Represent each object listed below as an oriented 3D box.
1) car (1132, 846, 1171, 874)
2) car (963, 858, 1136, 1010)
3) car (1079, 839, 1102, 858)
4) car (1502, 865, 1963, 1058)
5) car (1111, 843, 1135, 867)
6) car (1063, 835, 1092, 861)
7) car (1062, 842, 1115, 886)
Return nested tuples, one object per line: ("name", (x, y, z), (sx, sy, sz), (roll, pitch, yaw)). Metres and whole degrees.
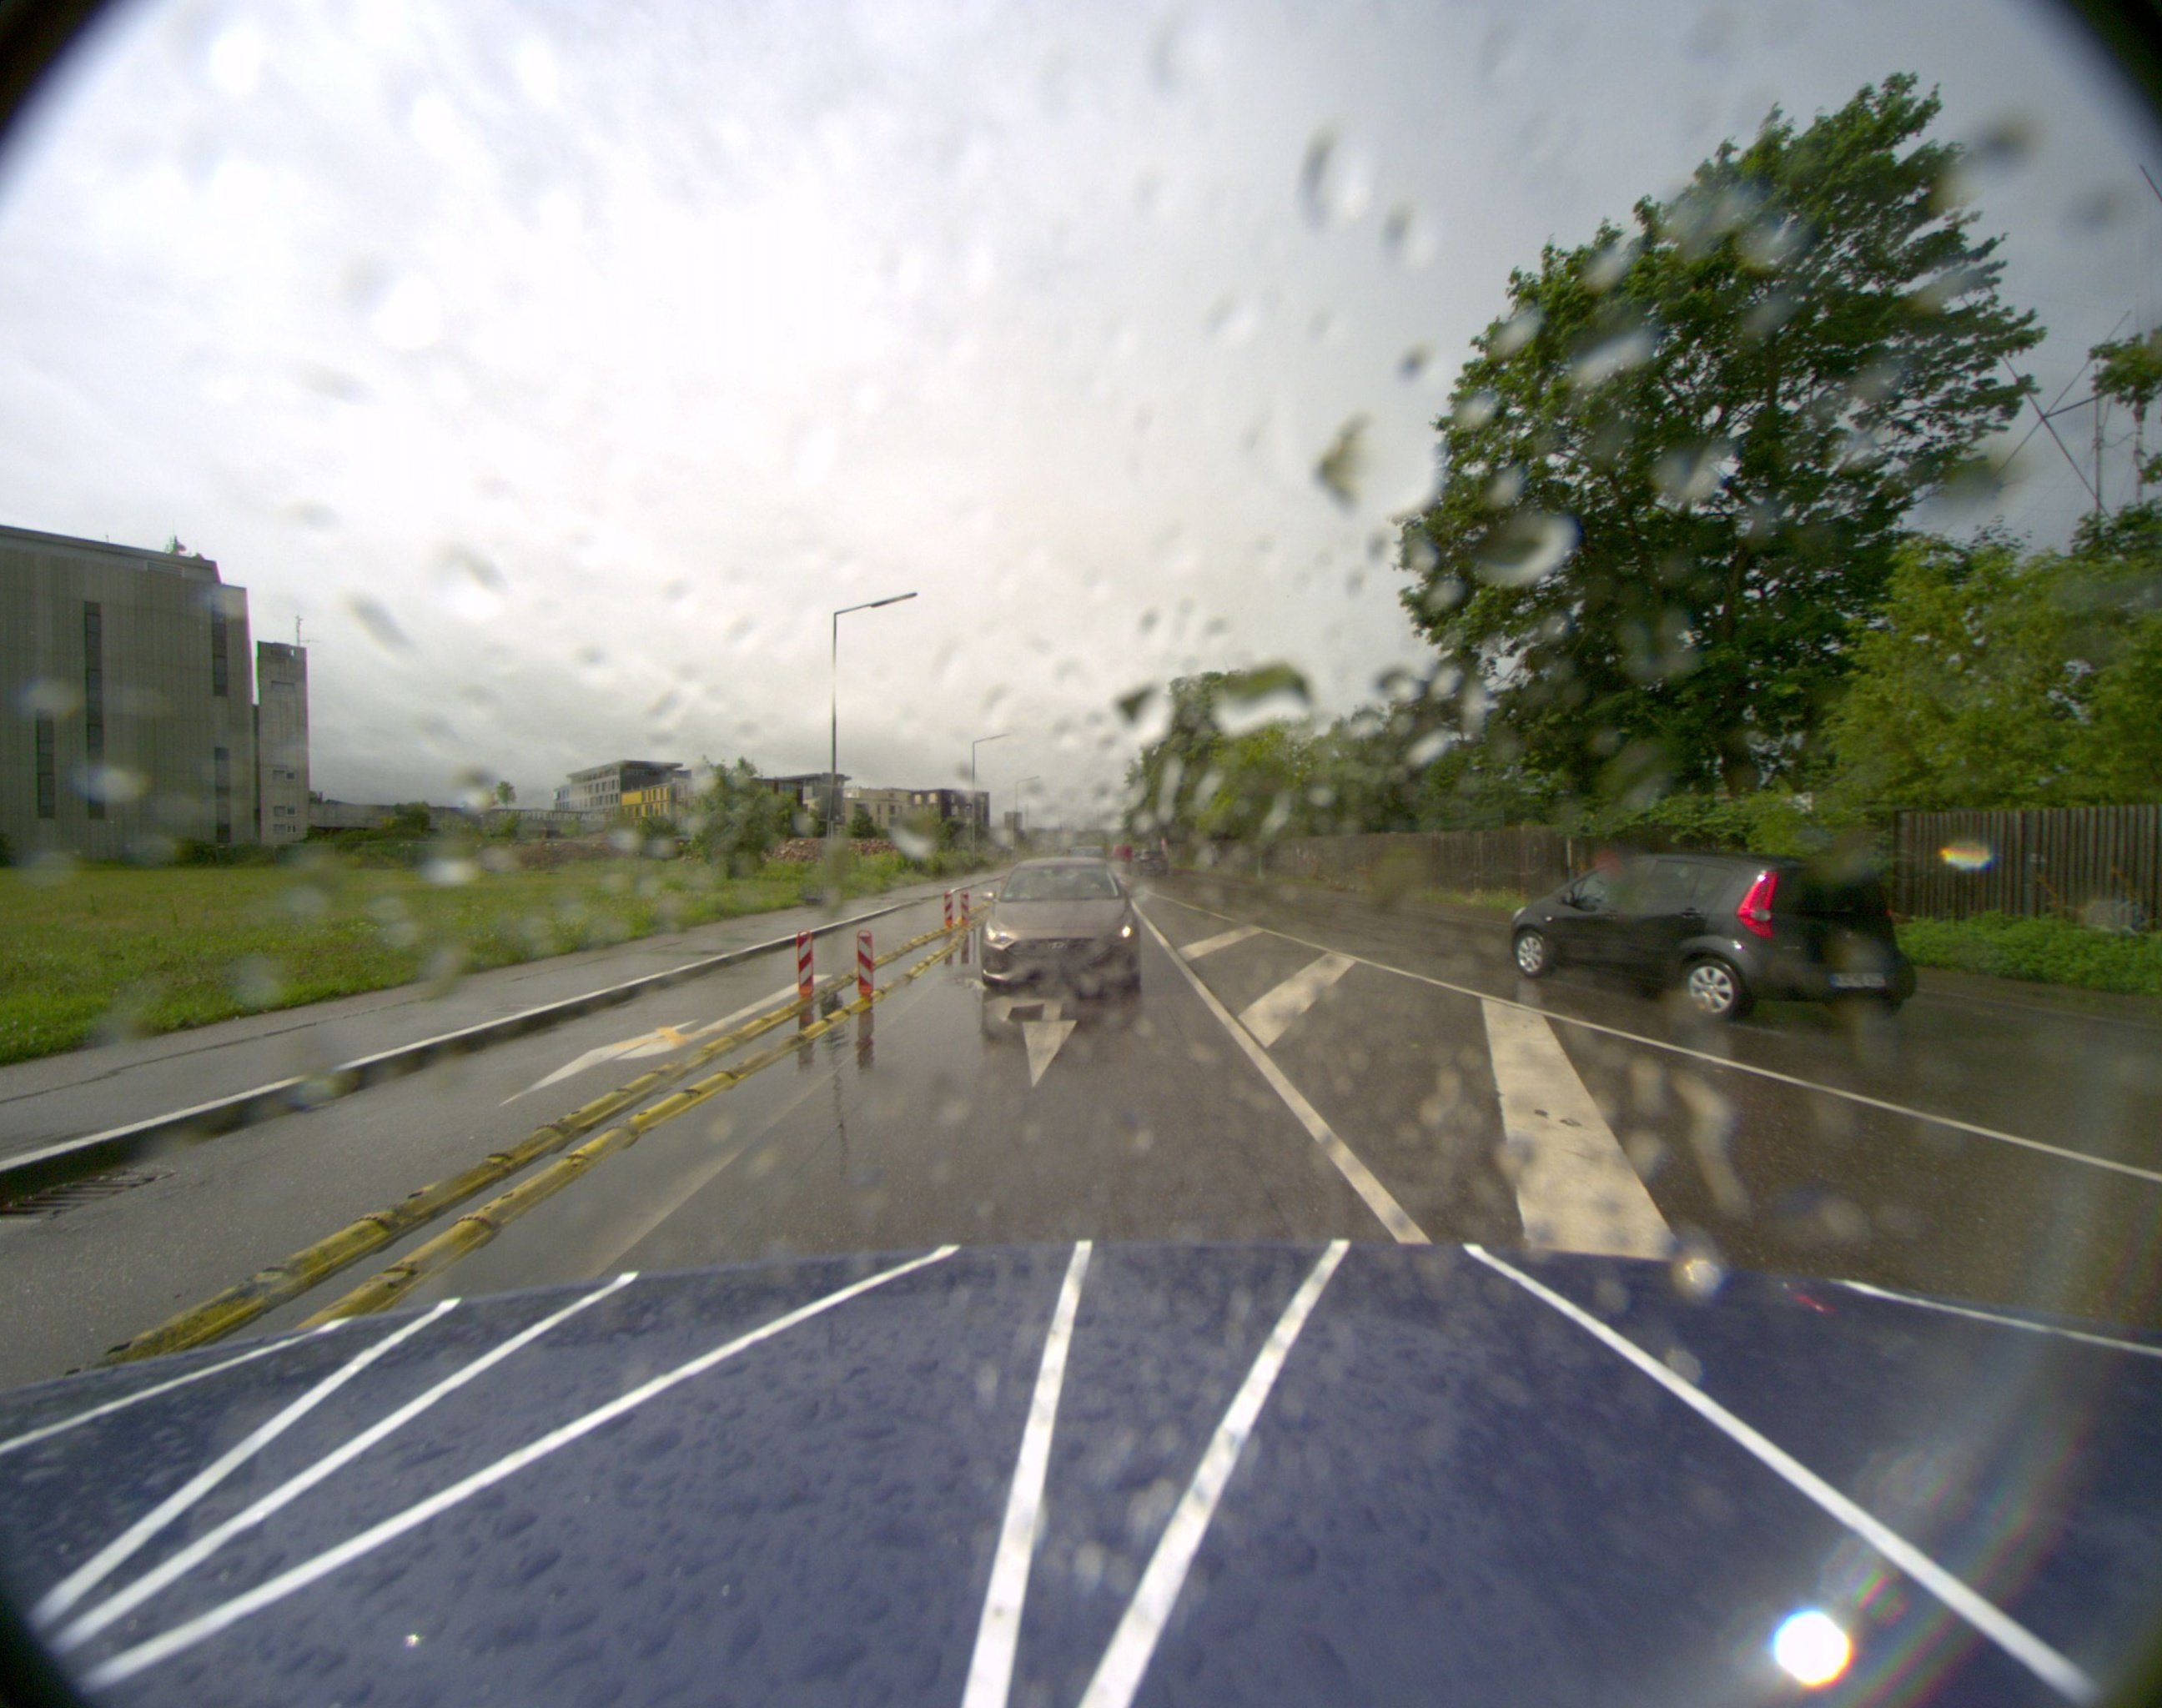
("car", (4.454, 0.353, 48.440), (1.855, 1.699, 3.998), (0, 0, -4))
("car", (-0.212, 0.833, 9.785), (1.734, 1.405, 4.127), (-1, 1, 3))
("car", (0.872, -0.494, 70.657), (1.875, 1.653, 4.482), (-2, 0, -2))
("car", (6.361, 0.917, 7.987), (1.633, 1.524, 3.455), (1, 0, -7))
("car", (4.158, 0.074, 75.094), (1.999, 2.321, 3.999), (0, 1, -2))
("car", (-0.285, -0.421, 52.586), (1.875, 1.653, 4.482), (-2, 0, -2))
("car", (0.395, 0.380, 31.625), (1.873, 1.653, 4.484), (-1, 0, 5))
